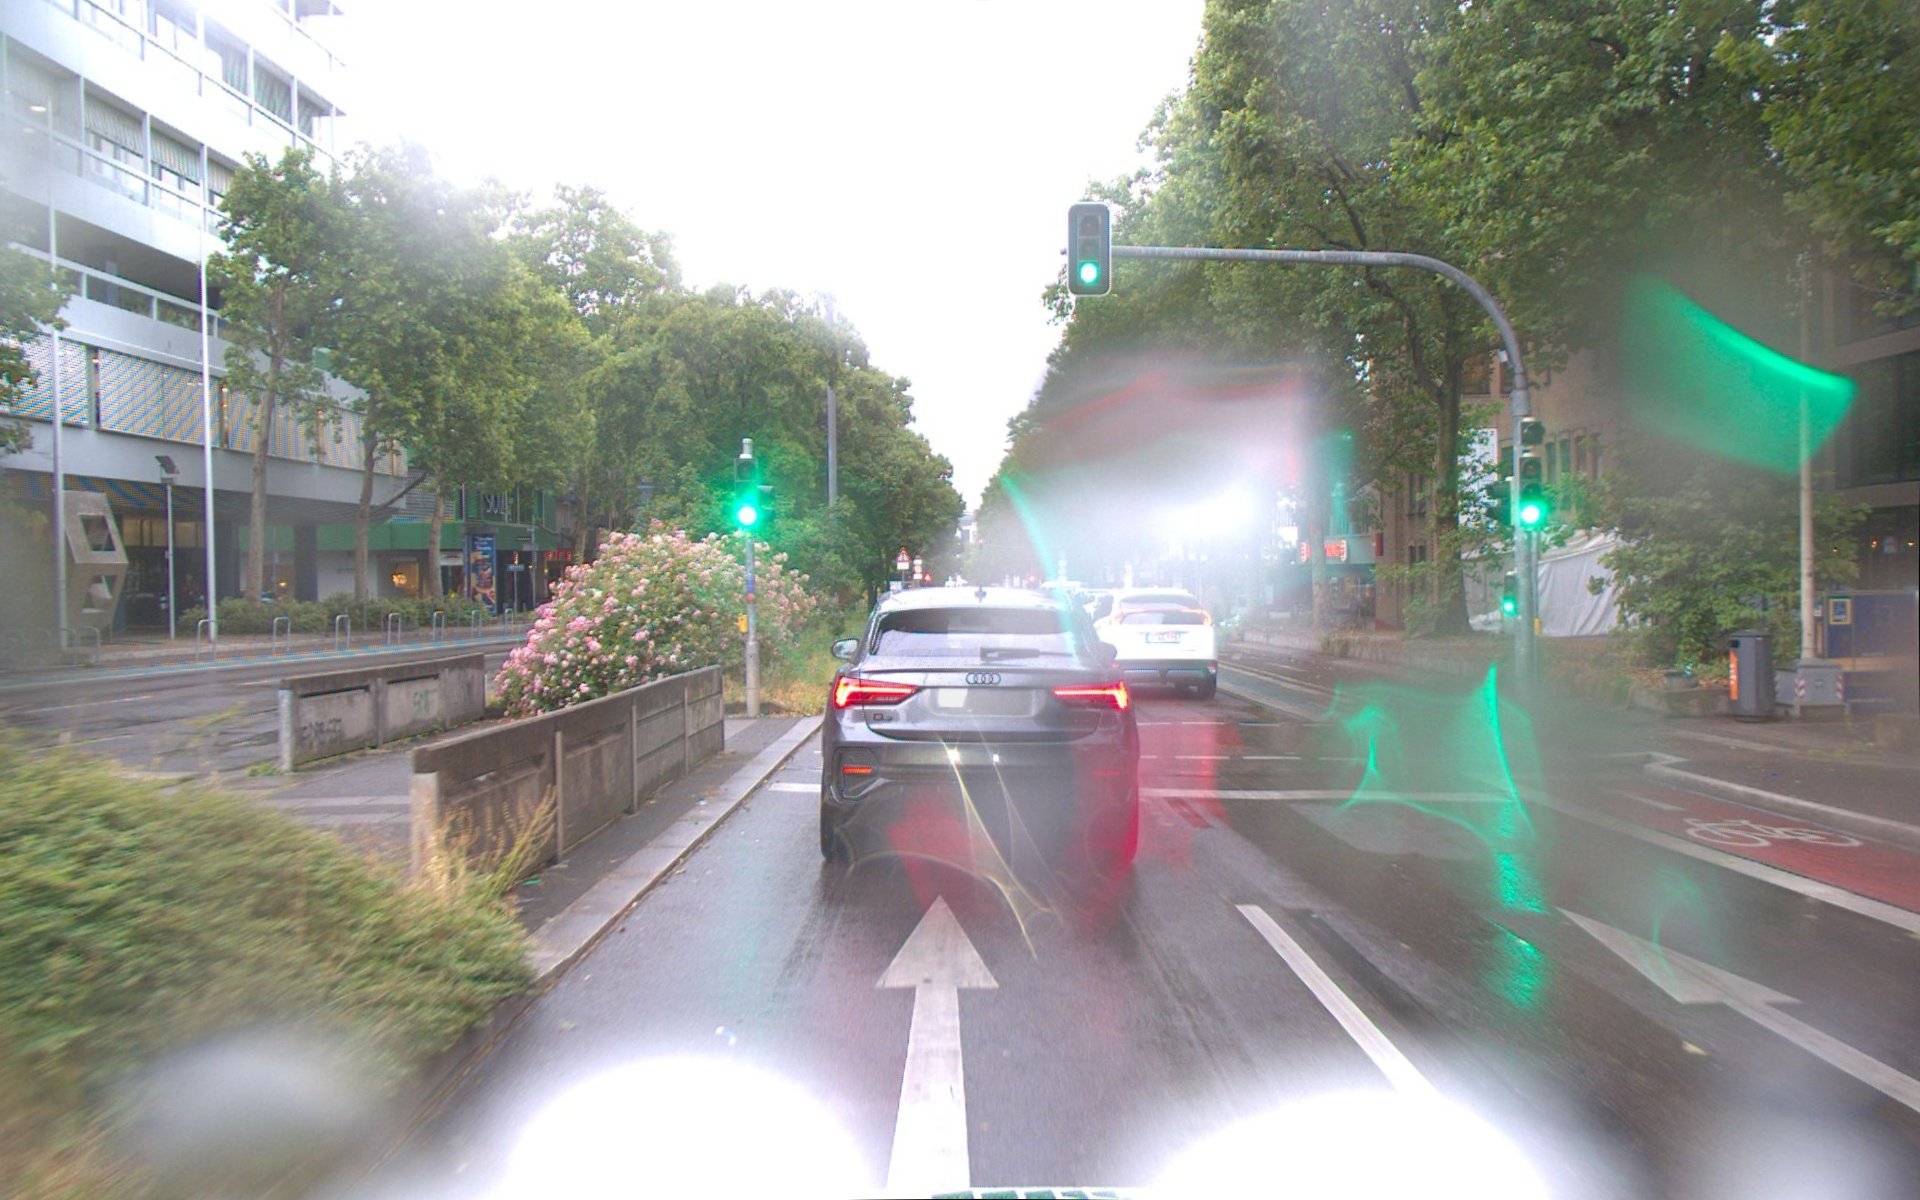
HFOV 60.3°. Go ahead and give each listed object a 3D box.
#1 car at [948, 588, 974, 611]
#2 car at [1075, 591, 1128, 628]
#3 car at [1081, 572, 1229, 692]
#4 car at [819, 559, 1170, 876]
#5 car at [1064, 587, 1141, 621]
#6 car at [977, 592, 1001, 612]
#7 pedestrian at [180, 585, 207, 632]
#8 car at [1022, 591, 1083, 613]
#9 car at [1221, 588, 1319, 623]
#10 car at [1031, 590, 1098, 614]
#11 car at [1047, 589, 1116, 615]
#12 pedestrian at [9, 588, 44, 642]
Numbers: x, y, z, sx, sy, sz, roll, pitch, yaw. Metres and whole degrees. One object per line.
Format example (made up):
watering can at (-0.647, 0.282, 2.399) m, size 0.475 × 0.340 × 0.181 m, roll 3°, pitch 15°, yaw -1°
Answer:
car at (0.070, -0.014, 132.143) m, size 1.953 × 1.757 × 3.999 m, roll 1°, pitch 0°, yaw -1°
car at (6.377, 0.423, 74.816) m, size 1.693 × 1.599 × 4.069 m, roll 1°, pitch 0°, yaw -5°
car at (3.024, 0.486, 26.385) m, size 1.840 × 1.727 × 3.999 m, roll 1°, pitch 0°, yaw 0°
car at (0.135, 0.604, 10.537) m, size 1.812 × 1.630 × 3.999 m, roll 0°, pitch 0°, yaw -1°
car at (8.970, 0.263, 104.535) m, size 4.518 × 2.049 × 1.959 m, roll 1°, pitch -1°, yaw 38°
car at (2.552, 0.202, 146.595) m, size 1.953 × 1.680 × 3.999 m, roll 1°, pitch 0°, yaw 0°
pedestrian at (-25.170, 0.273, 54.299) m, size 0.597 × 1.508 × 0.574 m, roll 1°, pitch -1°, yaw -3°
car at (7.617, 0.183, 136.146) m, size 4.549 × 1.736 × 1.997 m, roll 1°, pitch -1°, yaw 27°
car at (10.156, 0.193, 54.158) m, size 2.831 × 1.093 × 1.452 m, roll 1°, pitch -1°, yaw 31°
car at (7.736, 0.133, 122.559) m, size 4.549 × 1.736 × 1.997 m, roll 1°, pitch -1°, yaw 27°
car at (8.739, 0.139, 119.046) m, size 4.549 × 1.736 × 1.997 m, roll 1°, pitch -1°, yaw 27°
pedestrian at (-24.481, 0.401, 43.365) m, size 0.625 × 1.404 × 0.474 m, roll 1°, pitch -1°, yaw -4°
